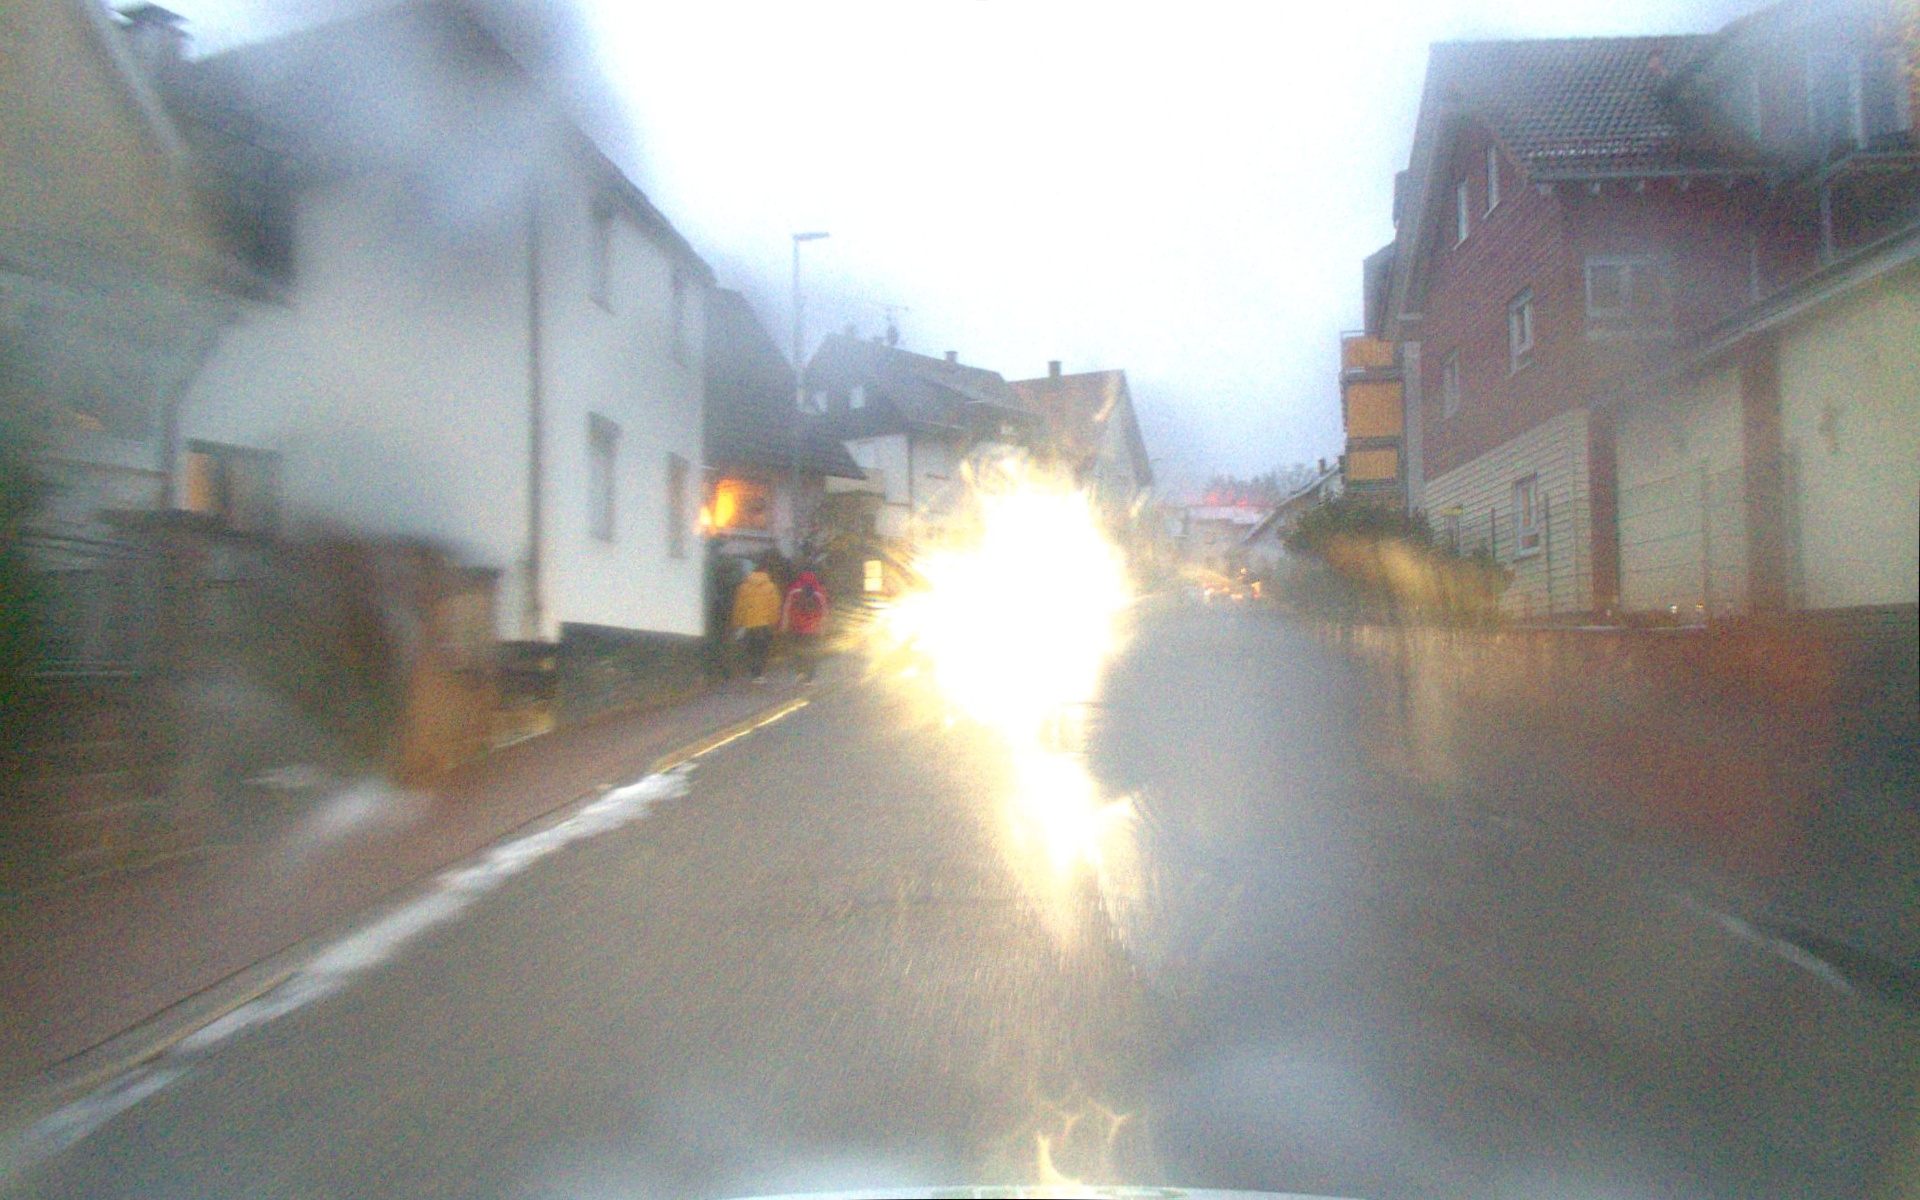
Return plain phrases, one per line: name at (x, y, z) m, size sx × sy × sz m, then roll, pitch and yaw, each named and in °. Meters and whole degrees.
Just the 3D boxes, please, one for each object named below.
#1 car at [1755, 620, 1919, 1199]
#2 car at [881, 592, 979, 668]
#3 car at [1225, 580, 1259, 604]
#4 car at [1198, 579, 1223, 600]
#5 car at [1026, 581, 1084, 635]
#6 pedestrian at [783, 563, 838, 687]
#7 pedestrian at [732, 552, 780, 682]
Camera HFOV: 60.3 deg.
car at (2.851, 0.758, 1.644) m, size 1.691 × 1.457 × 4.796 m, roll 0°, pitch -1°, yaw -2°
car at (-0.562, 0.576, 34.403) m, size 1.785 × 1.466 × 4.069 m, roll 0°, pitch 0°, yaw 2°
car at (20.947, -0.591, 122.776) m, size 1.951 × 1.646 × 4.002 m, roll 1°, pitch -1°, yaw 16°
car at (21.448, -0.911, 141.895) m, size 1.951 × 1.646 × 4.003 m, roll 1°, pitch -1°, yaw 6°
car at (2.904, 0.257, 51.077) m, size 1.721 × 1.608 × 4.001 m, roll 0°, pitch -1°, yaw 2°
pedestrian at (-2.208, 0.364, 24.525) m, size 0.691 × 1.810 × 0.812 m, roll 0°, pitch -1°, yaw 3°
pedestrian at (-3.034, 0.257, 24.653) m, size 0.585 × 1.902 × 0.812 m, roll 0°, pitch -1°, yaw 2°
